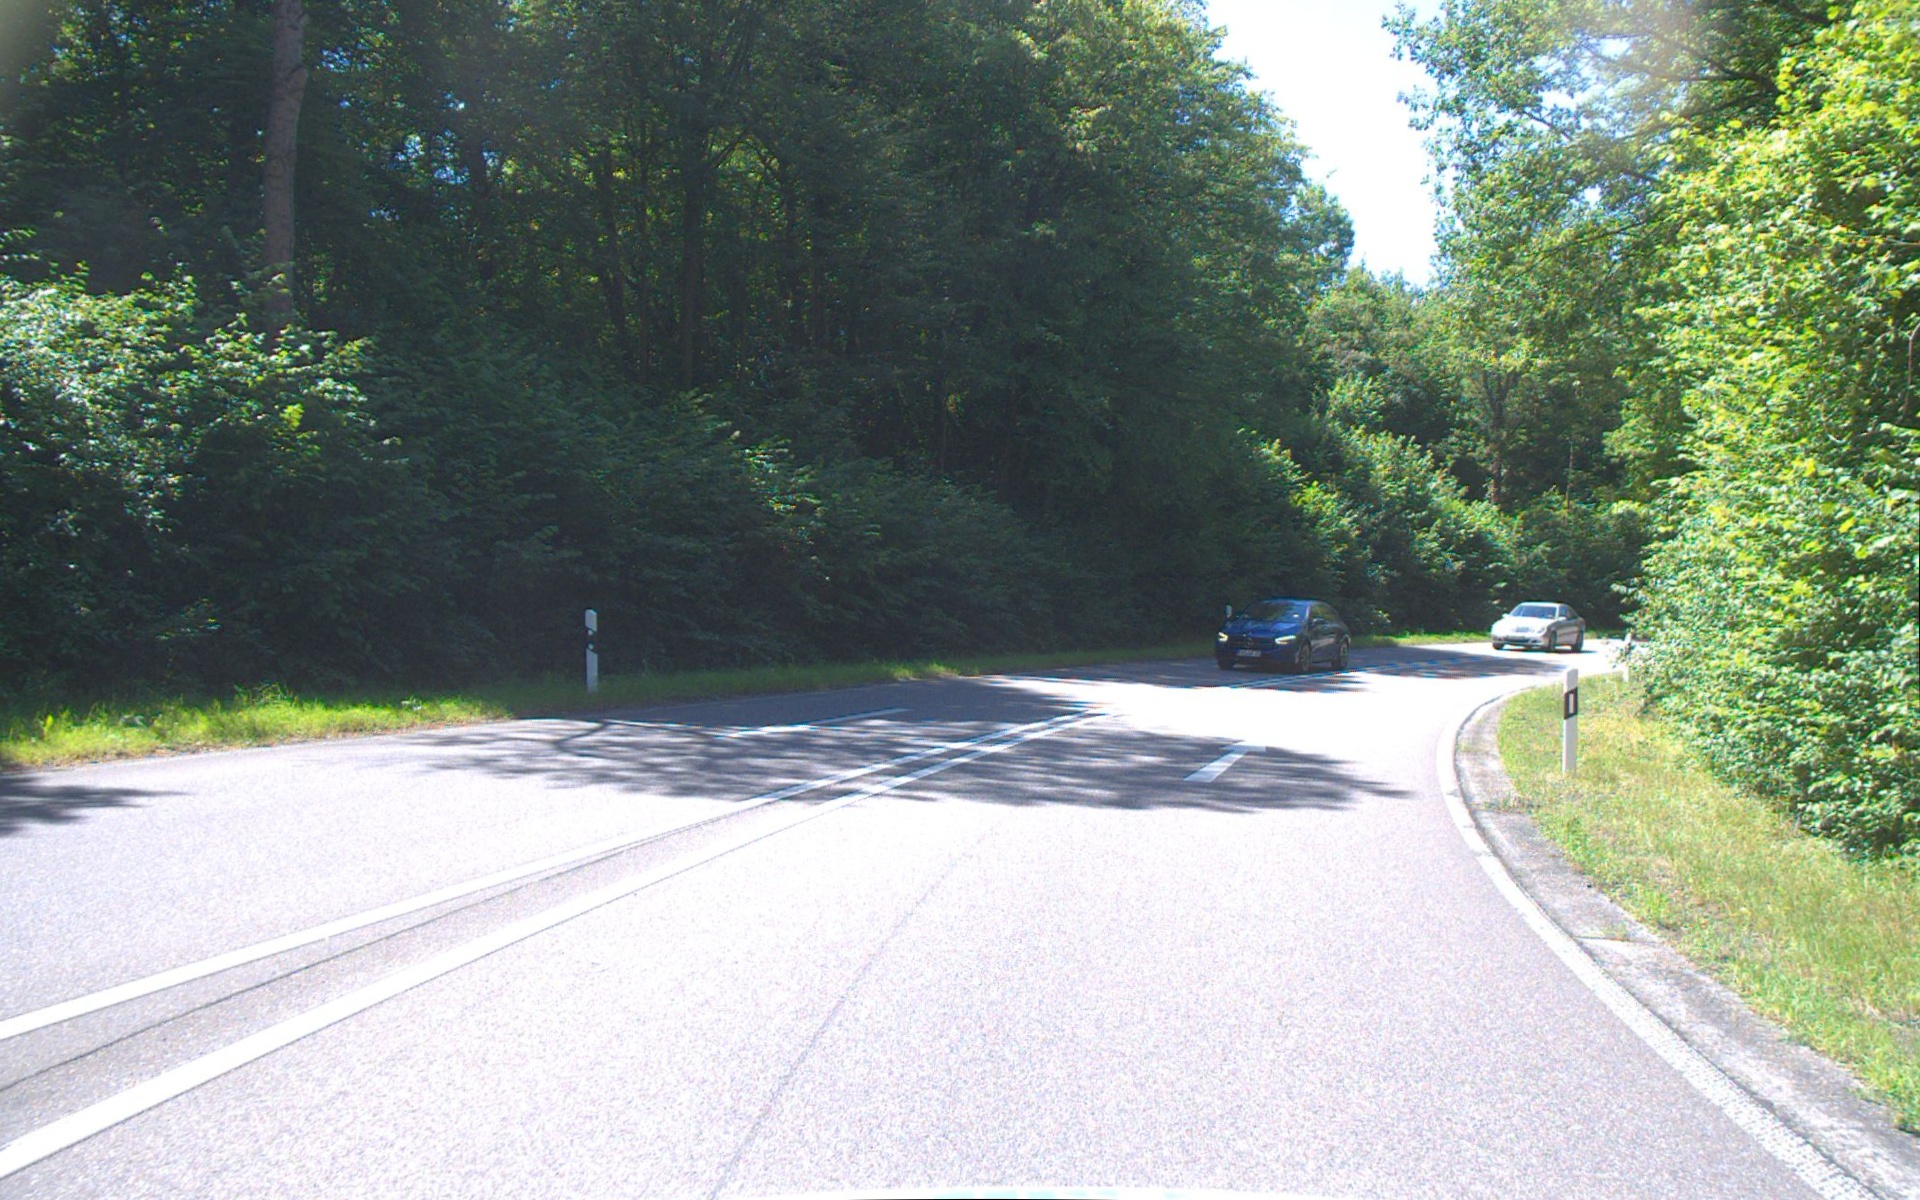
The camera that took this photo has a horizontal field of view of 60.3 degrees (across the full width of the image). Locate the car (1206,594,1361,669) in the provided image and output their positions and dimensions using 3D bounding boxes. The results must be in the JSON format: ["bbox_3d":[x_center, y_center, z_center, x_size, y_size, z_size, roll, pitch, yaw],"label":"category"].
[{"bbox_3d":[6.752,0.628,34.192,1.756,1.430,4.351,1,0,31],"label":"car"}]

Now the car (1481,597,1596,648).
[{"bbox_3d":[17.974,0.694,51.256,1.818,1.512,4.738,1,0,40],"label":"car"}]
